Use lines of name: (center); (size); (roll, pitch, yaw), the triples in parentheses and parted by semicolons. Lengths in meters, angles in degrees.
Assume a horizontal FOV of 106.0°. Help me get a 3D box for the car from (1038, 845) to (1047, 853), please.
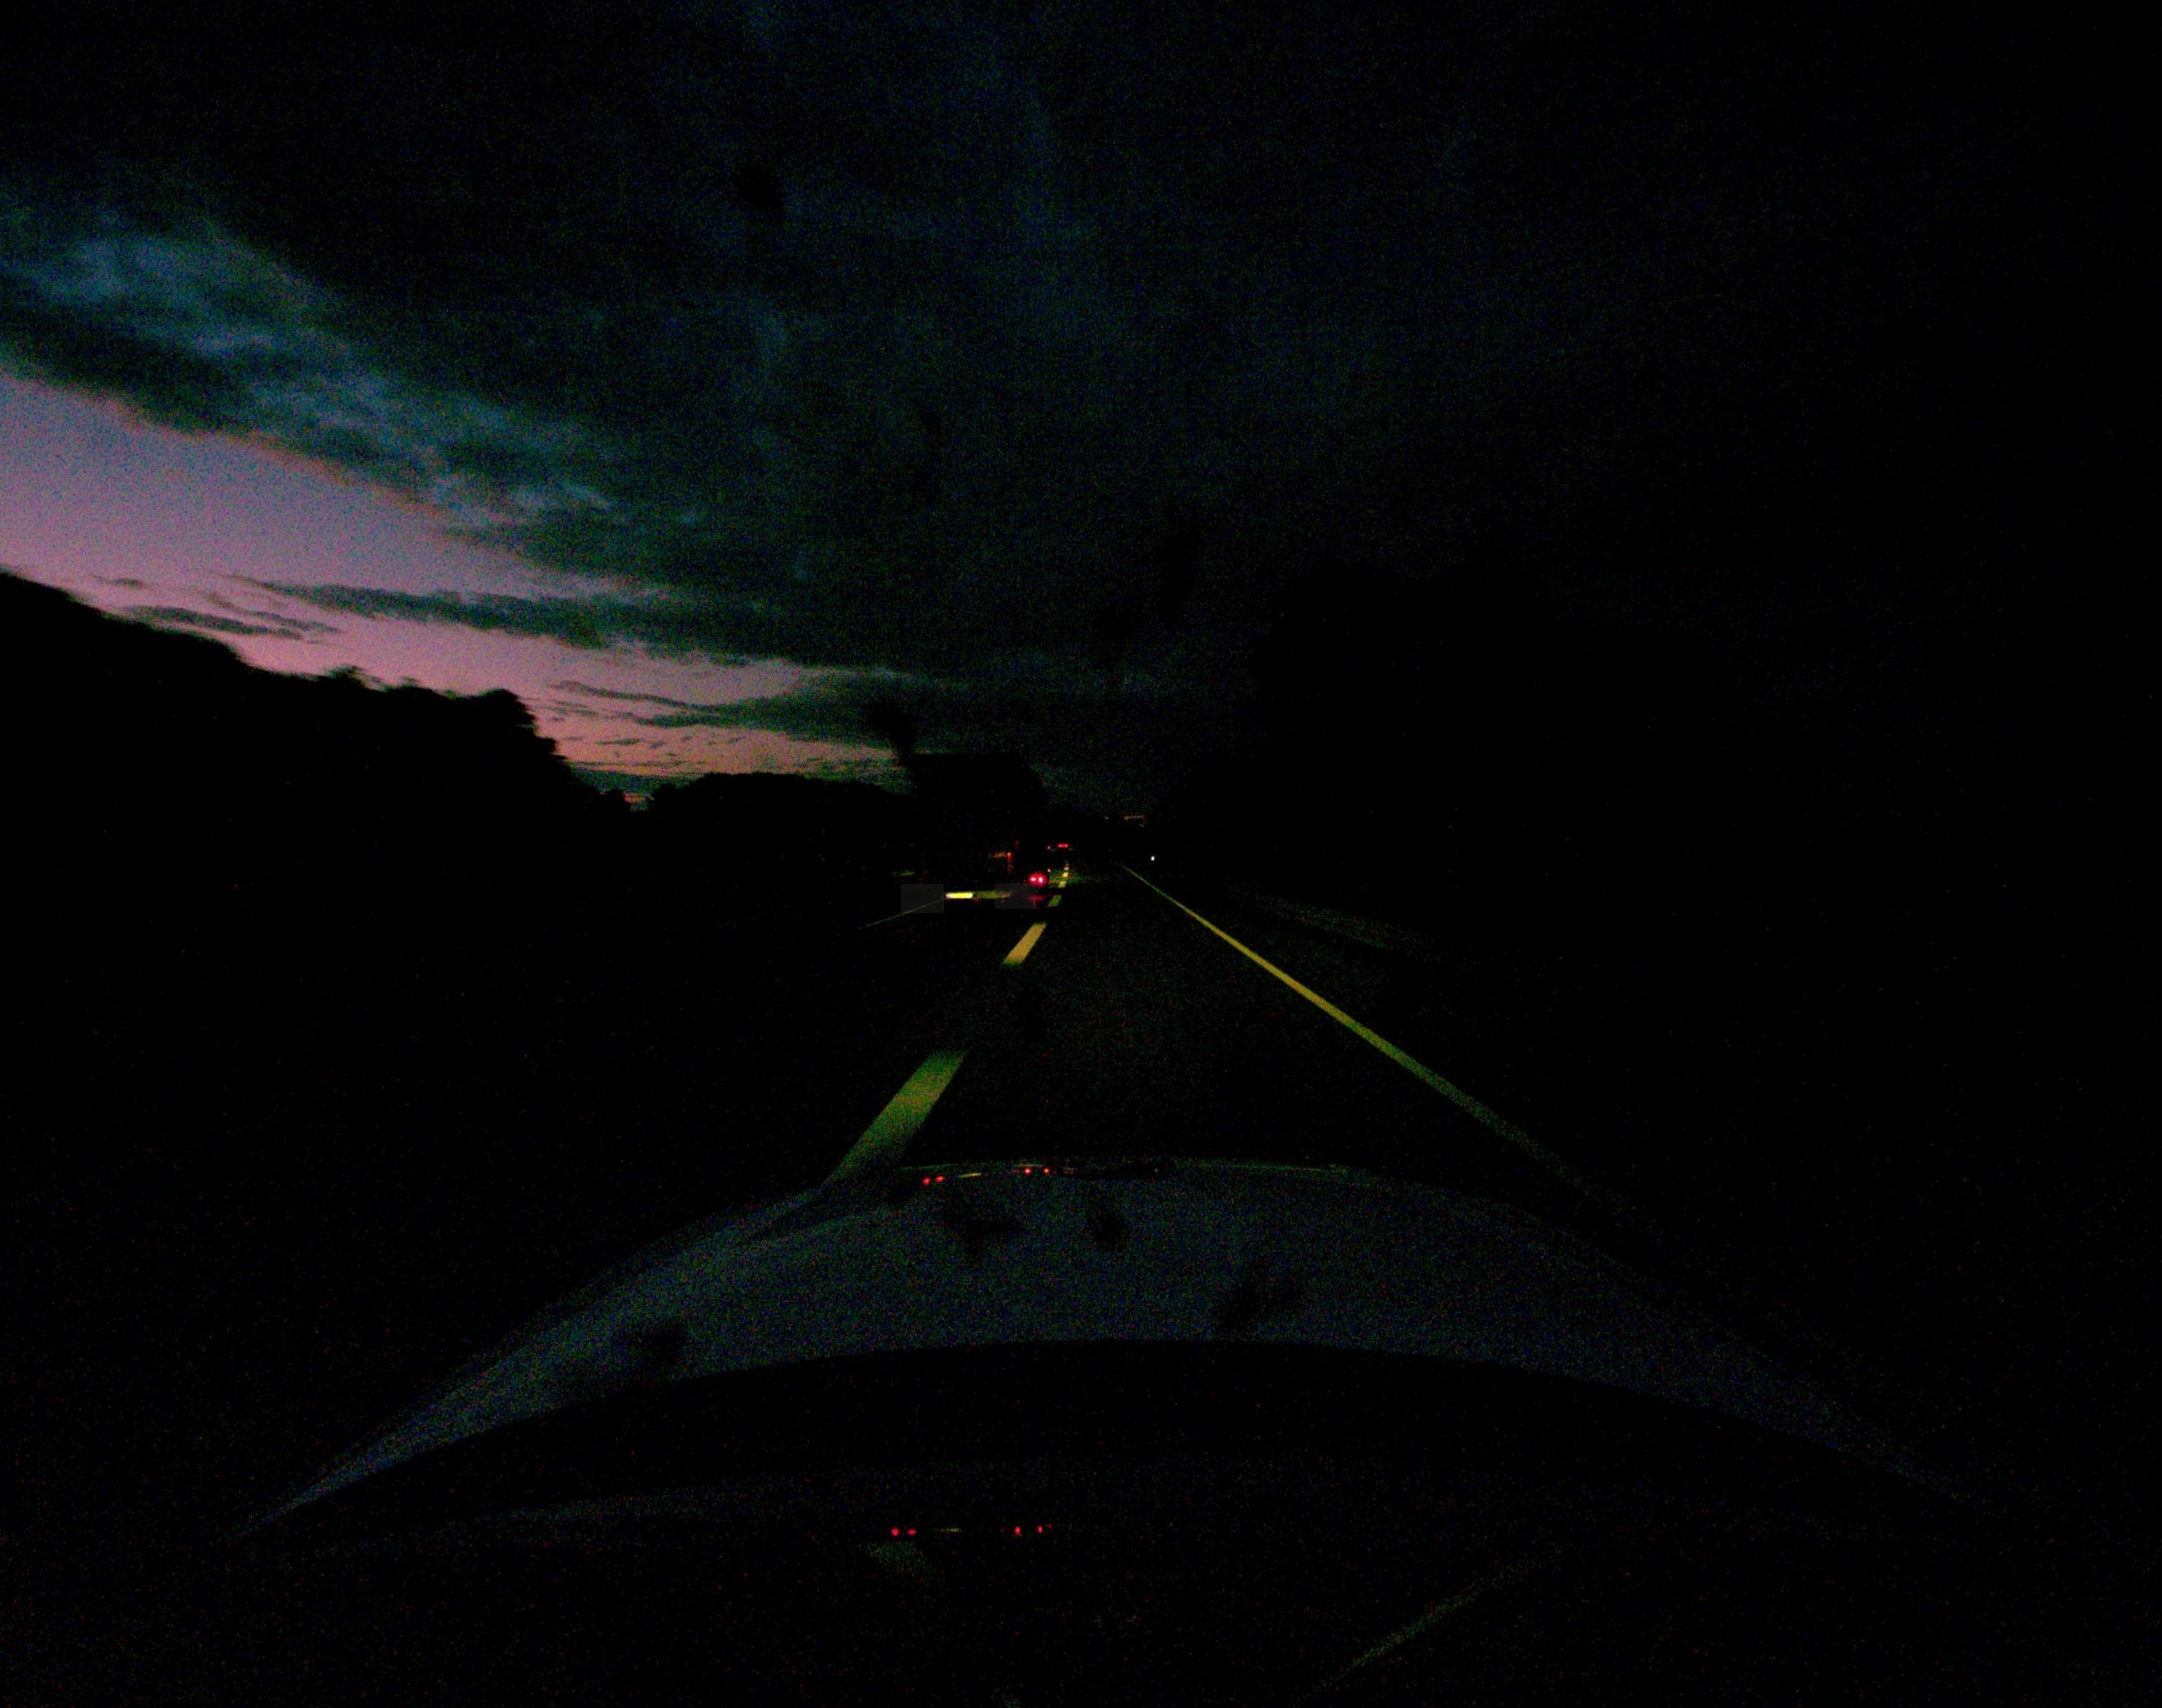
car: (-7.675, -0.974, 162.870); (1.881, 1.354, 3.994); (0, -2, -3)

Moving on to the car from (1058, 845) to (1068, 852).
car: (-3.753, -1.168, 172.420); (1.989, 1.354, 3.994); (0, -2, -4)

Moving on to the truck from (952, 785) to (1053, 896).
truck: (-3.043, -0.507, 33.461); (3.540, 4.091, 6.149); (-1, 0, -1)

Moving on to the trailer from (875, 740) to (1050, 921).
trailer: (-2.996, -0.529, 26.265); (3.539, 4.116, 15.057); (-1, 0, -1)

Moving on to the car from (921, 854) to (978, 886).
car: (-7.013, 0.887, 43.992); (1.897, 1.614, 4.809); (0, -2, 5)
